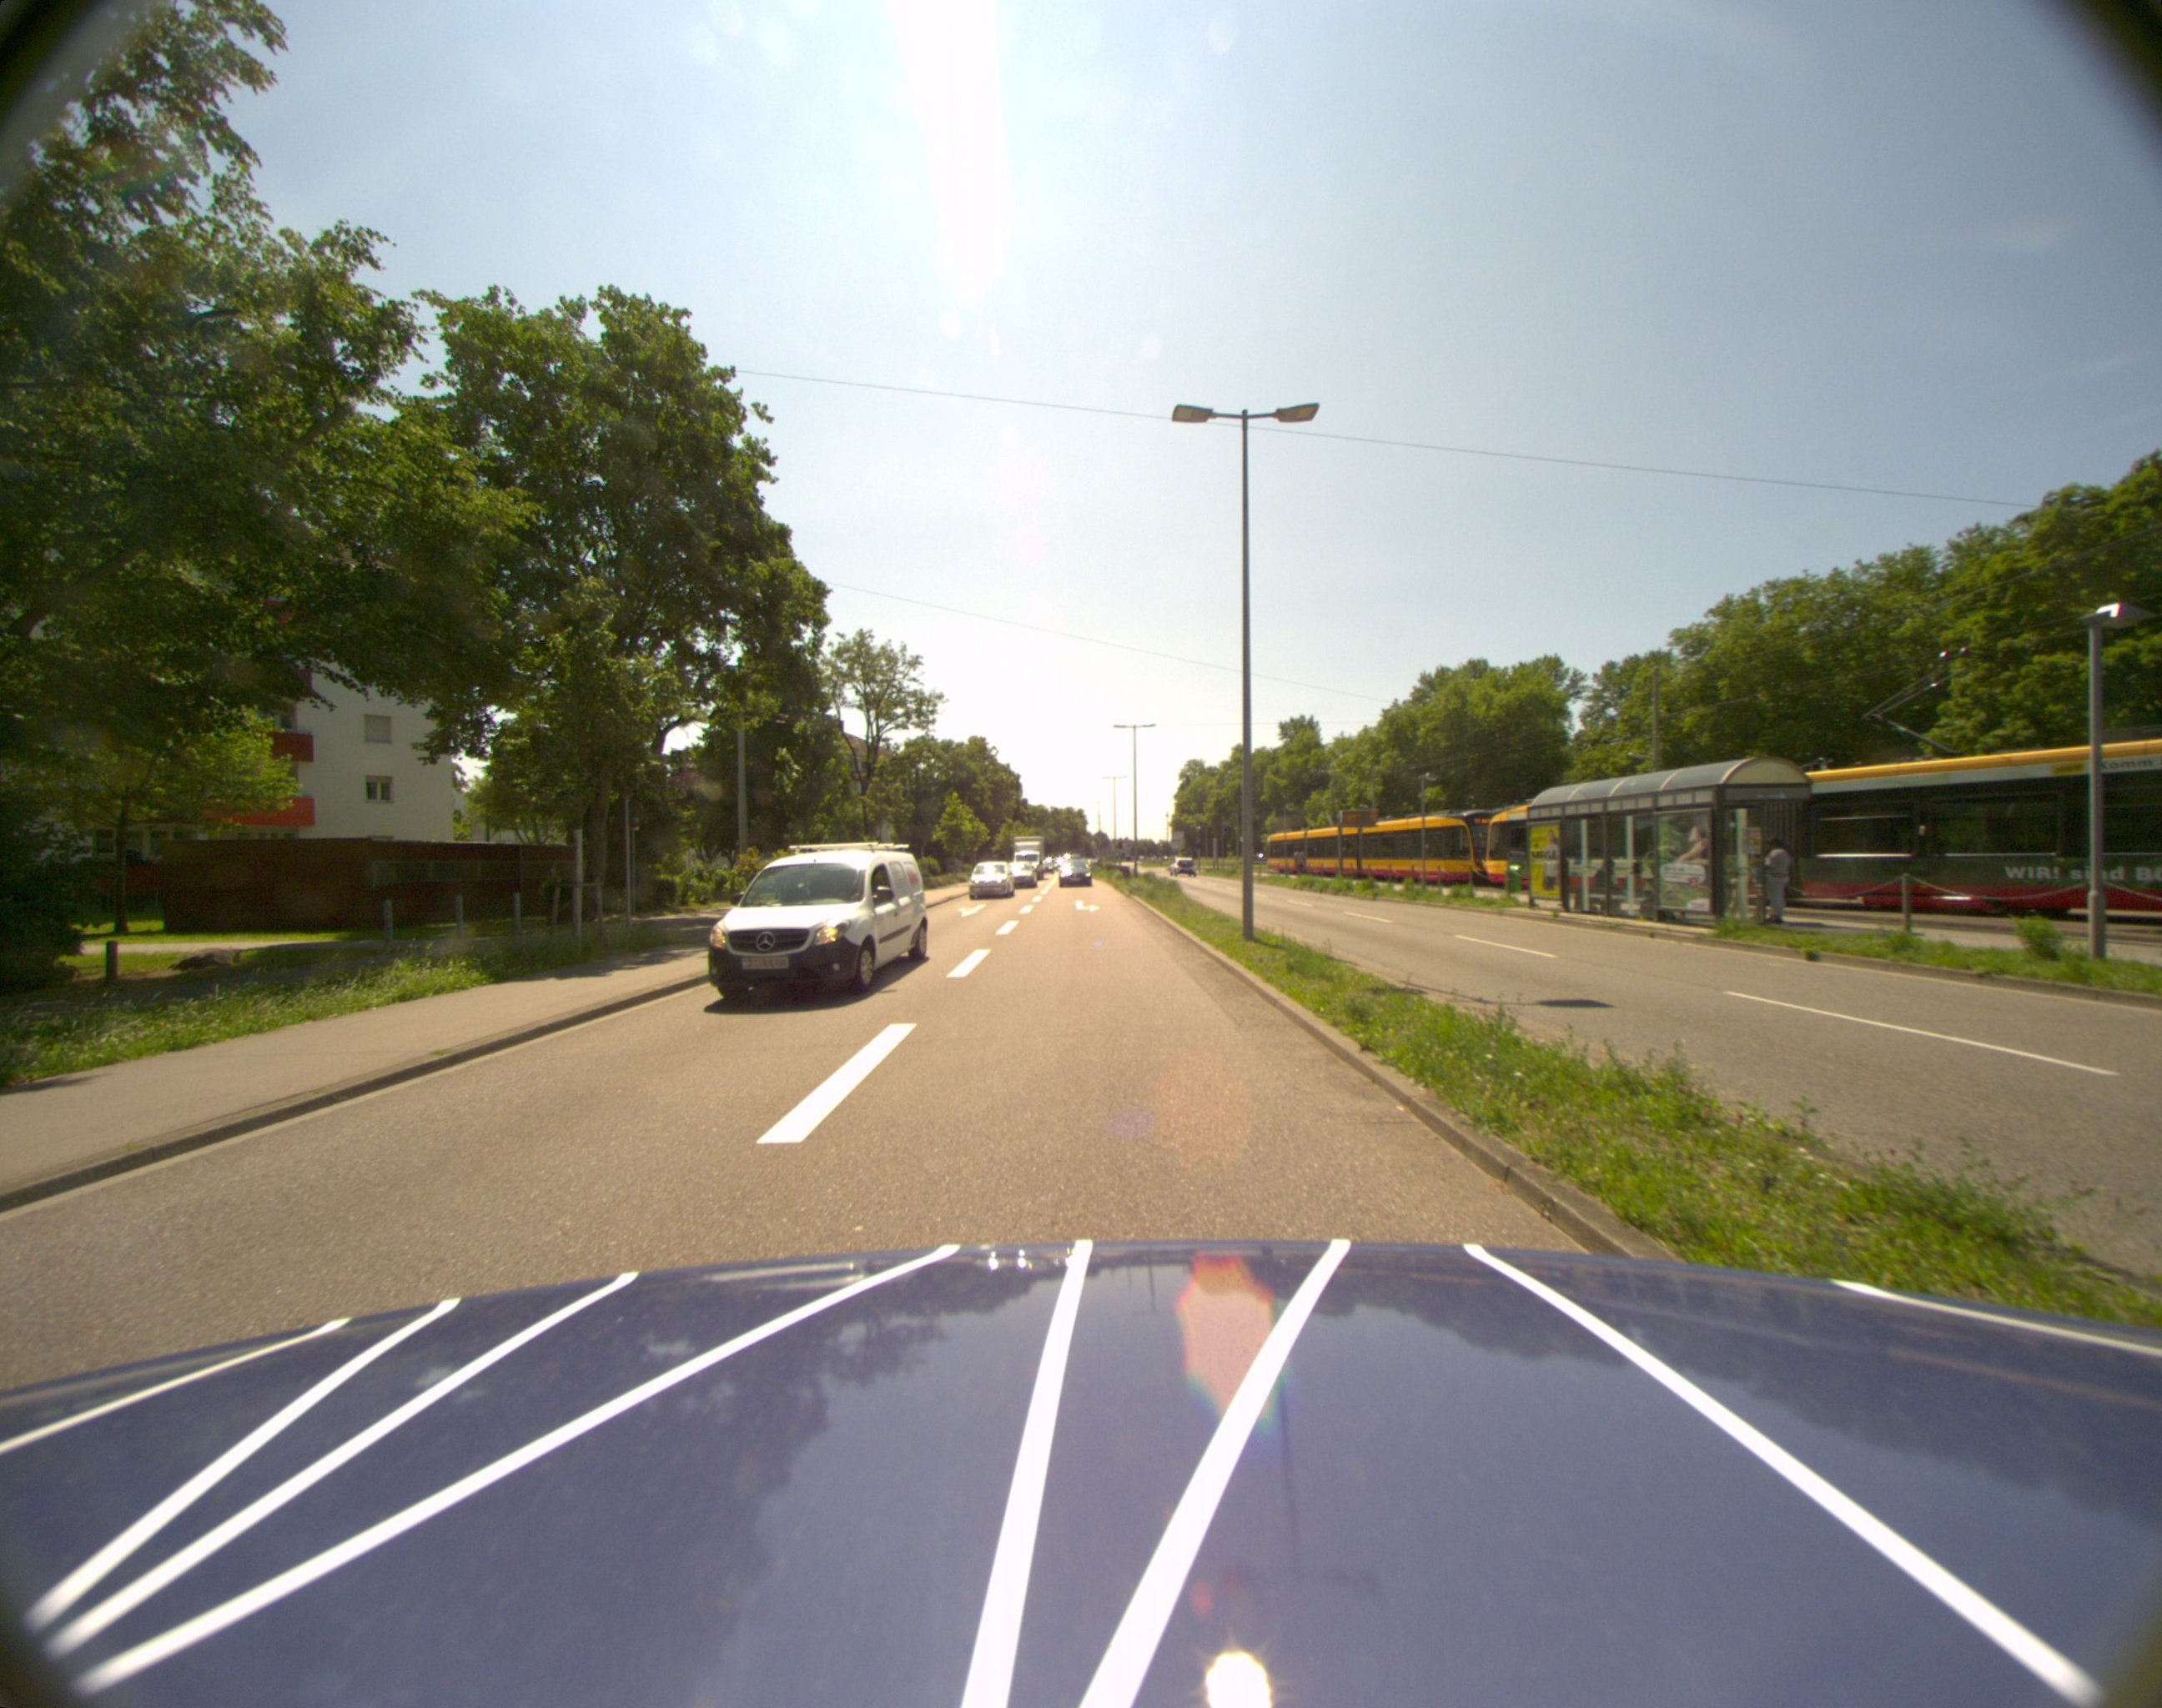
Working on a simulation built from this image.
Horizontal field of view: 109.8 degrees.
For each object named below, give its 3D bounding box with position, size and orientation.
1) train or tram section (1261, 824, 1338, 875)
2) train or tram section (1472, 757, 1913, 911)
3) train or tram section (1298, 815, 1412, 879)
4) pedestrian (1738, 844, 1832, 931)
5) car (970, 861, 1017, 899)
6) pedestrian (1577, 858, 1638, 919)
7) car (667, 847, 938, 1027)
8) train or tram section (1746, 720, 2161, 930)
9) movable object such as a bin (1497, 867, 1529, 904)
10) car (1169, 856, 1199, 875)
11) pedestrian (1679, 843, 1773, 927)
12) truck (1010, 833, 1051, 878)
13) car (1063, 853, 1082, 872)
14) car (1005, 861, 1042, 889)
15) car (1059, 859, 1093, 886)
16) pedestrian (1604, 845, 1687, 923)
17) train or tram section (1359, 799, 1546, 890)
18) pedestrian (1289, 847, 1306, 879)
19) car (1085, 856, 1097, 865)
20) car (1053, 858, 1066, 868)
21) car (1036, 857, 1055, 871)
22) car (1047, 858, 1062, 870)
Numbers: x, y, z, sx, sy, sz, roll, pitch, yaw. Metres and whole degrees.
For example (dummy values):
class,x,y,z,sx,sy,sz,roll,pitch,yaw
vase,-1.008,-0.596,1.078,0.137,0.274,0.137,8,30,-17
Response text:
class,x,y,z,sx,sy,sz,roll,pitch,yaw
train or tram section,18.055,-0.325,63.855,2.957,3.833,11.540,-2,0,0
train or tram section,18.421,-0.465,25.363,3.052,3.603,13.895,-2,0,-2
train or tram section,18.222,-0.410,51.854,3.051,3.719,12.595,-2,0,0
pedestrian,12.692,0.589,13.724,0.837,1.499,0.879,-2,0,-2
car,-3.644,1.069,32.159,1.626,1.432,3.498,-2,0,-2
pedestrian,11.550,0.742,16.697,0.703,1.276,0.840,-2,0,-2
car,-3.440,0.891,10.629,1.809,1.845,5.082,-2,0,0
train or tram section,20.020,-0.552,13.721,3.055,3.603,12.437,-2,0,-14
movable object such as a bin,11.838,0.861,20.840,0.483,0.972,0.645,-1,0,-4
car,8.322,0.892,61.454,1.774,1.496,3.719,-1,0,-2
pedestrian,12.420,0.583,14.668,0.933,1.537,0.985,-2,0,-2
truck,-3.847,0.092,59.102,2.490,3.276,6.605,-1,0,2
car,-0.769,0.804,74.563,1.746,1.840,3.887,-1,0,1
car,-3.118,1.105,41.854,1.618,1.373,4.115,-2,0,1
car,-0.239,0.998,42.034,1.746,1.382,3.887,-1,0,1
pedestrian,11.626,0.603,15.686,0.876,1.537,1.026,-2,0,-2
train or tram section,18.249,-0.402,38.988,3.051,3.745,13.261,-2,0,0
pedestrian,12.095,0.509,42.456,0.633,1.780,0.776,-2,0,-2
car,1.779,1.126,131.173,1.745,1.382,3.889,-1,0,6
car,-3.279,1.363,115.709,1.746,1.382,3.887,-1,0,1
car,-3.776,1.093,80.413,1.746,1.382,3.887,-1,0,1
car,-3.373,1.269,97.827,1.618,1.373,4.115,-2,0,1
